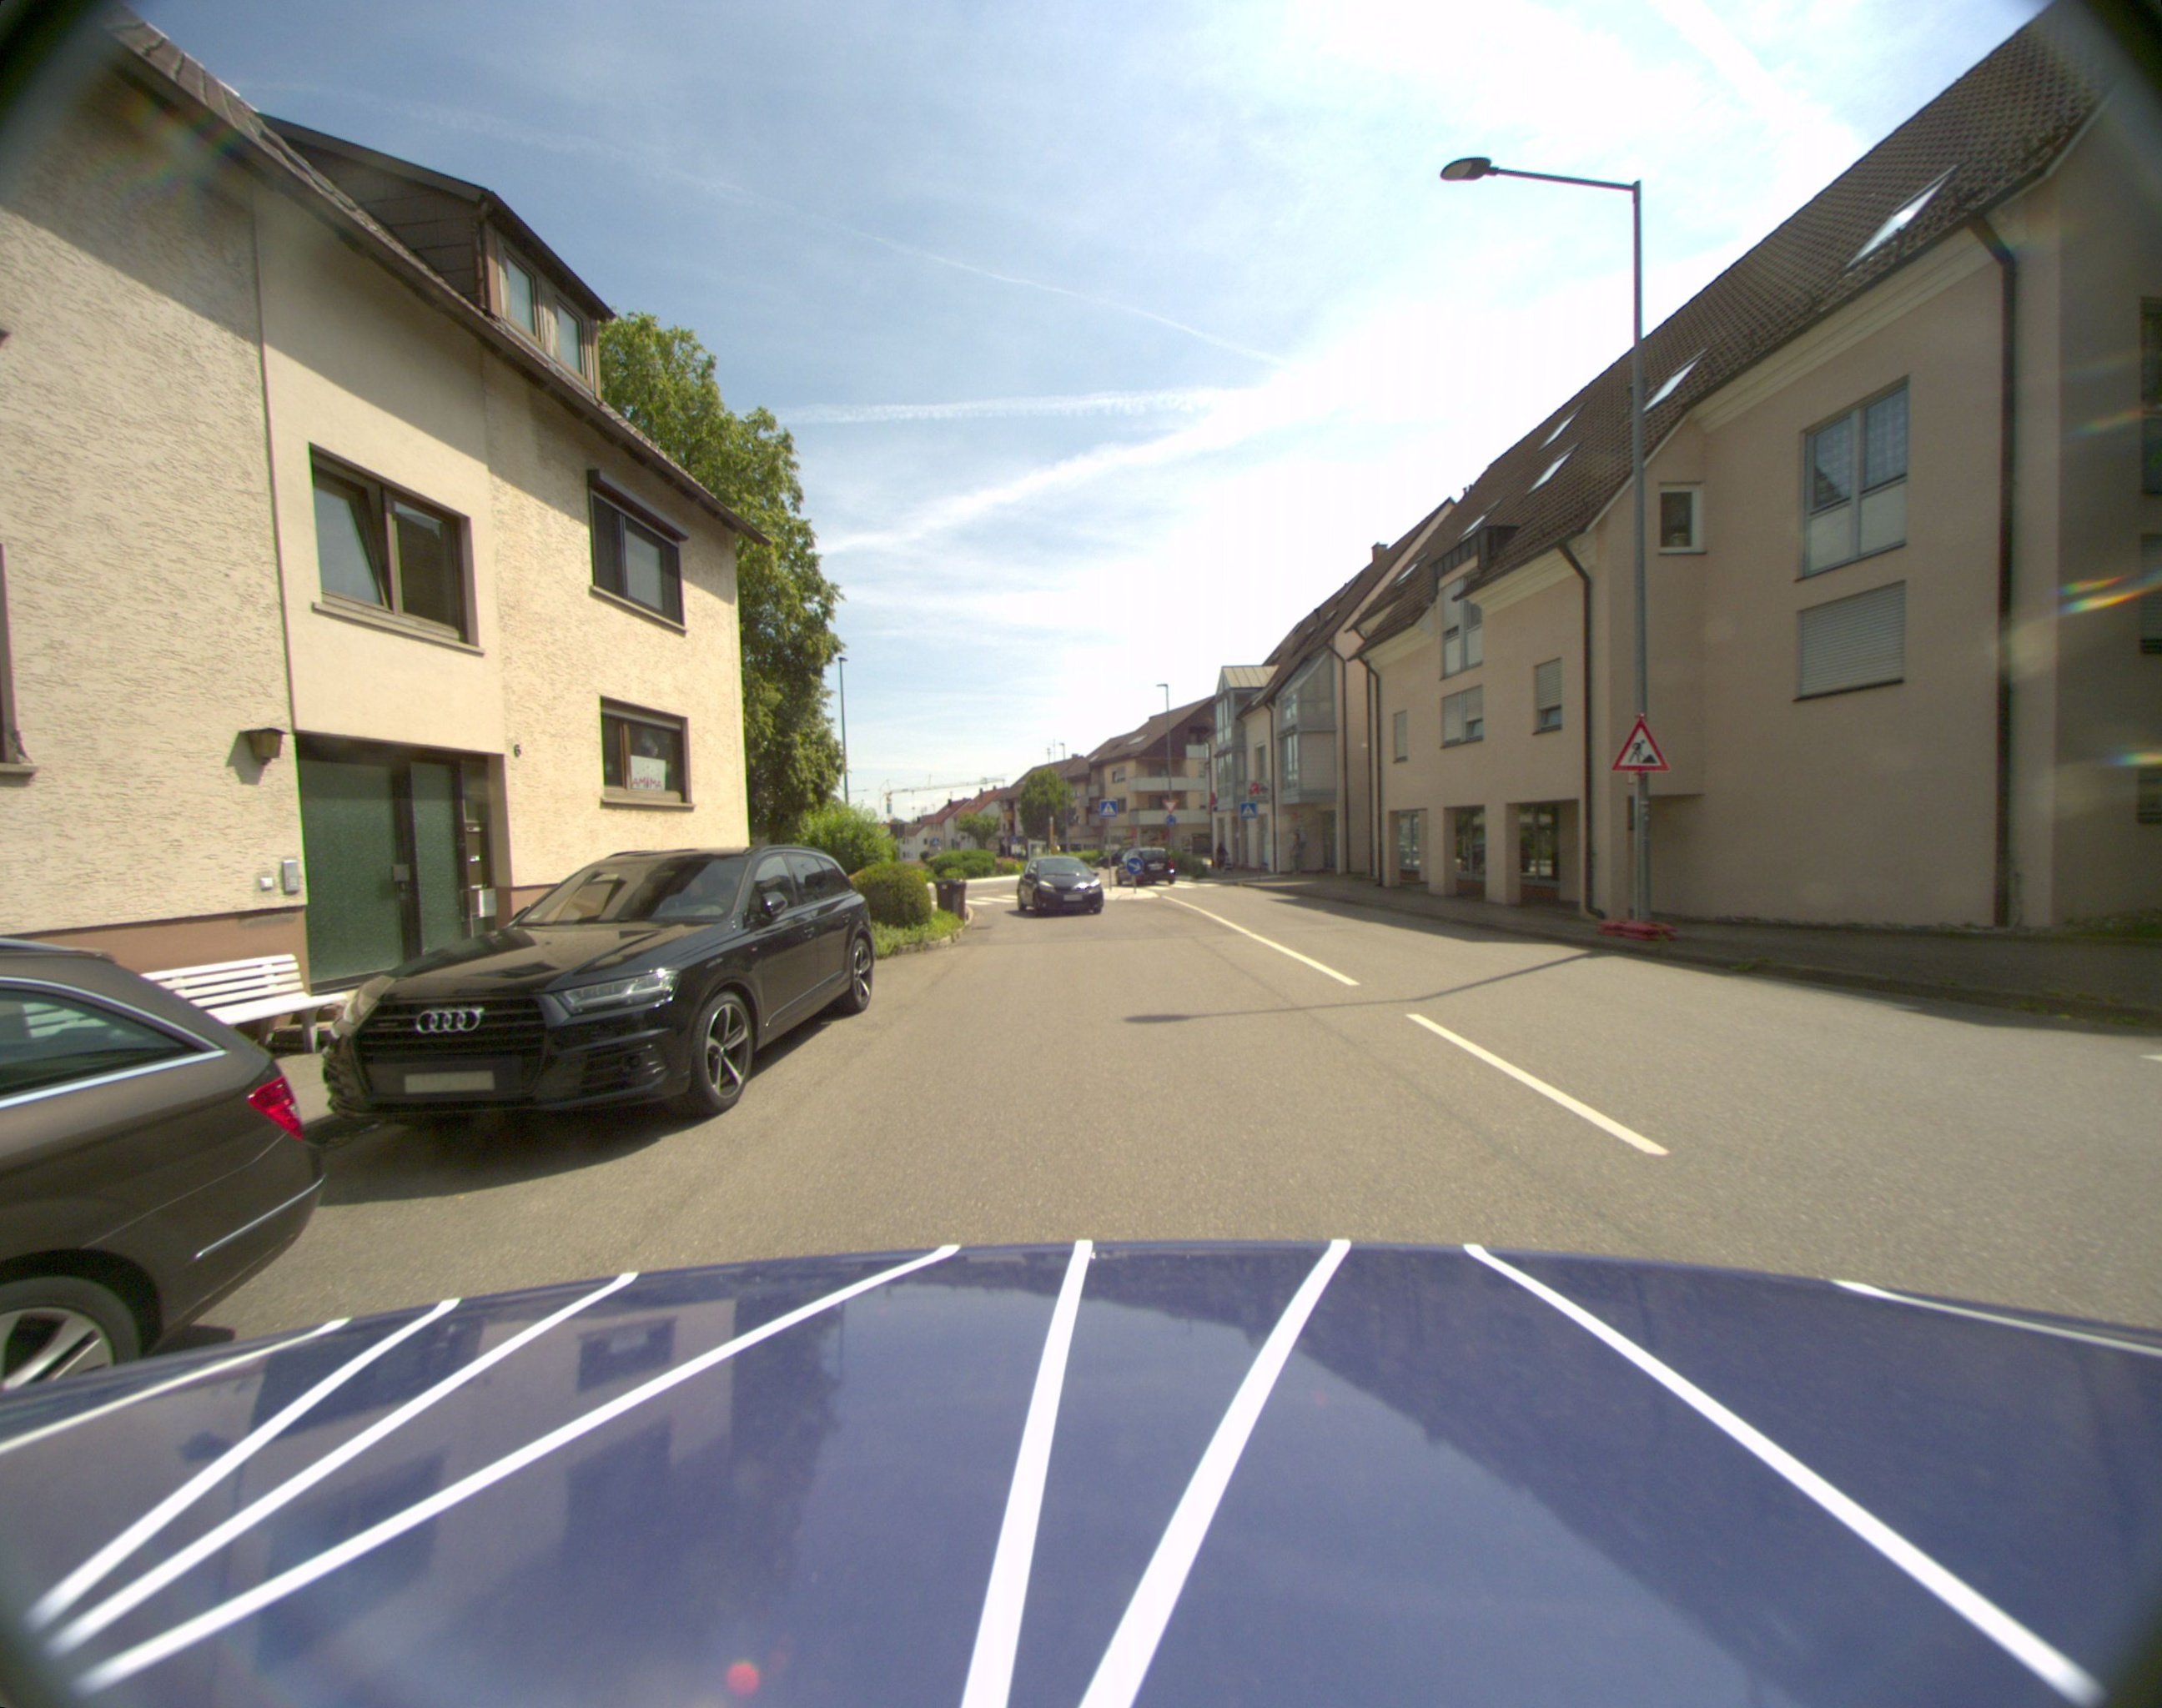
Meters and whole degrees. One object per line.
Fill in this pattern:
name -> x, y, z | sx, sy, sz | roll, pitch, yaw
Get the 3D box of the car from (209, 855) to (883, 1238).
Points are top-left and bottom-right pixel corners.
car -> -3.119, 0.916, 5.910 | 1.848, 1.660, 4.655 | -3, 1, 0

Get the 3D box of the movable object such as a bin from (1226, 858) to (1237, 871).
movable object such as a bin -> 7.123, 0.503, 36.004 | 0.458, 0.578, 0.469 | -3, 1, 4

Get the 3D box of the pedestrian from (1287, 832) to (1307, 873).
pedestrian -> 9.220, -0.074, 32.432 | 0.577, 1.699, 0.579 | -4, 1, 1

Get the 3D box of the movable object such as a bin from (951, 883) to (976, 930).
movable object such as a bin -> -2.615, 1.171, 16.940 | 0.502, 0.987, 0.503 | -3, 1, -8

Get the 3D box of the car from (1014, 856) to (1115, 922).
car -> -0.564, 0.825, 19.882 | 1.727, 1.448, 4.425 | -3, 0, -13

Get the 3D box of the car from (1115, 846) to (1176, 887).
car -> 2.668, 0.487, 32.290 | 1.757, 1.575, 3.942 | -3, 1, -7

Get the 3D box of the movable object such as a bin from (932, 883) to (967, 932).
movable object such as a bin -> -2.777, 1.125, 16.117 | 0.525, 0.987, 0.502 | -3, 0, 14

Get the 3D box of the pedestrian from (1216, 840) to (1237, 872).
pedestrian -> 6.972, 0.106, 36.393 | 0.801, 1.469, 0.957 | -3, 1, 5

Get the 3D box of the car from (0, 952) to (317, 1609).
car -> -3.395, 1.043, 0.268 | 1.793, 1.412, 4.358 | -1, 0, 0
